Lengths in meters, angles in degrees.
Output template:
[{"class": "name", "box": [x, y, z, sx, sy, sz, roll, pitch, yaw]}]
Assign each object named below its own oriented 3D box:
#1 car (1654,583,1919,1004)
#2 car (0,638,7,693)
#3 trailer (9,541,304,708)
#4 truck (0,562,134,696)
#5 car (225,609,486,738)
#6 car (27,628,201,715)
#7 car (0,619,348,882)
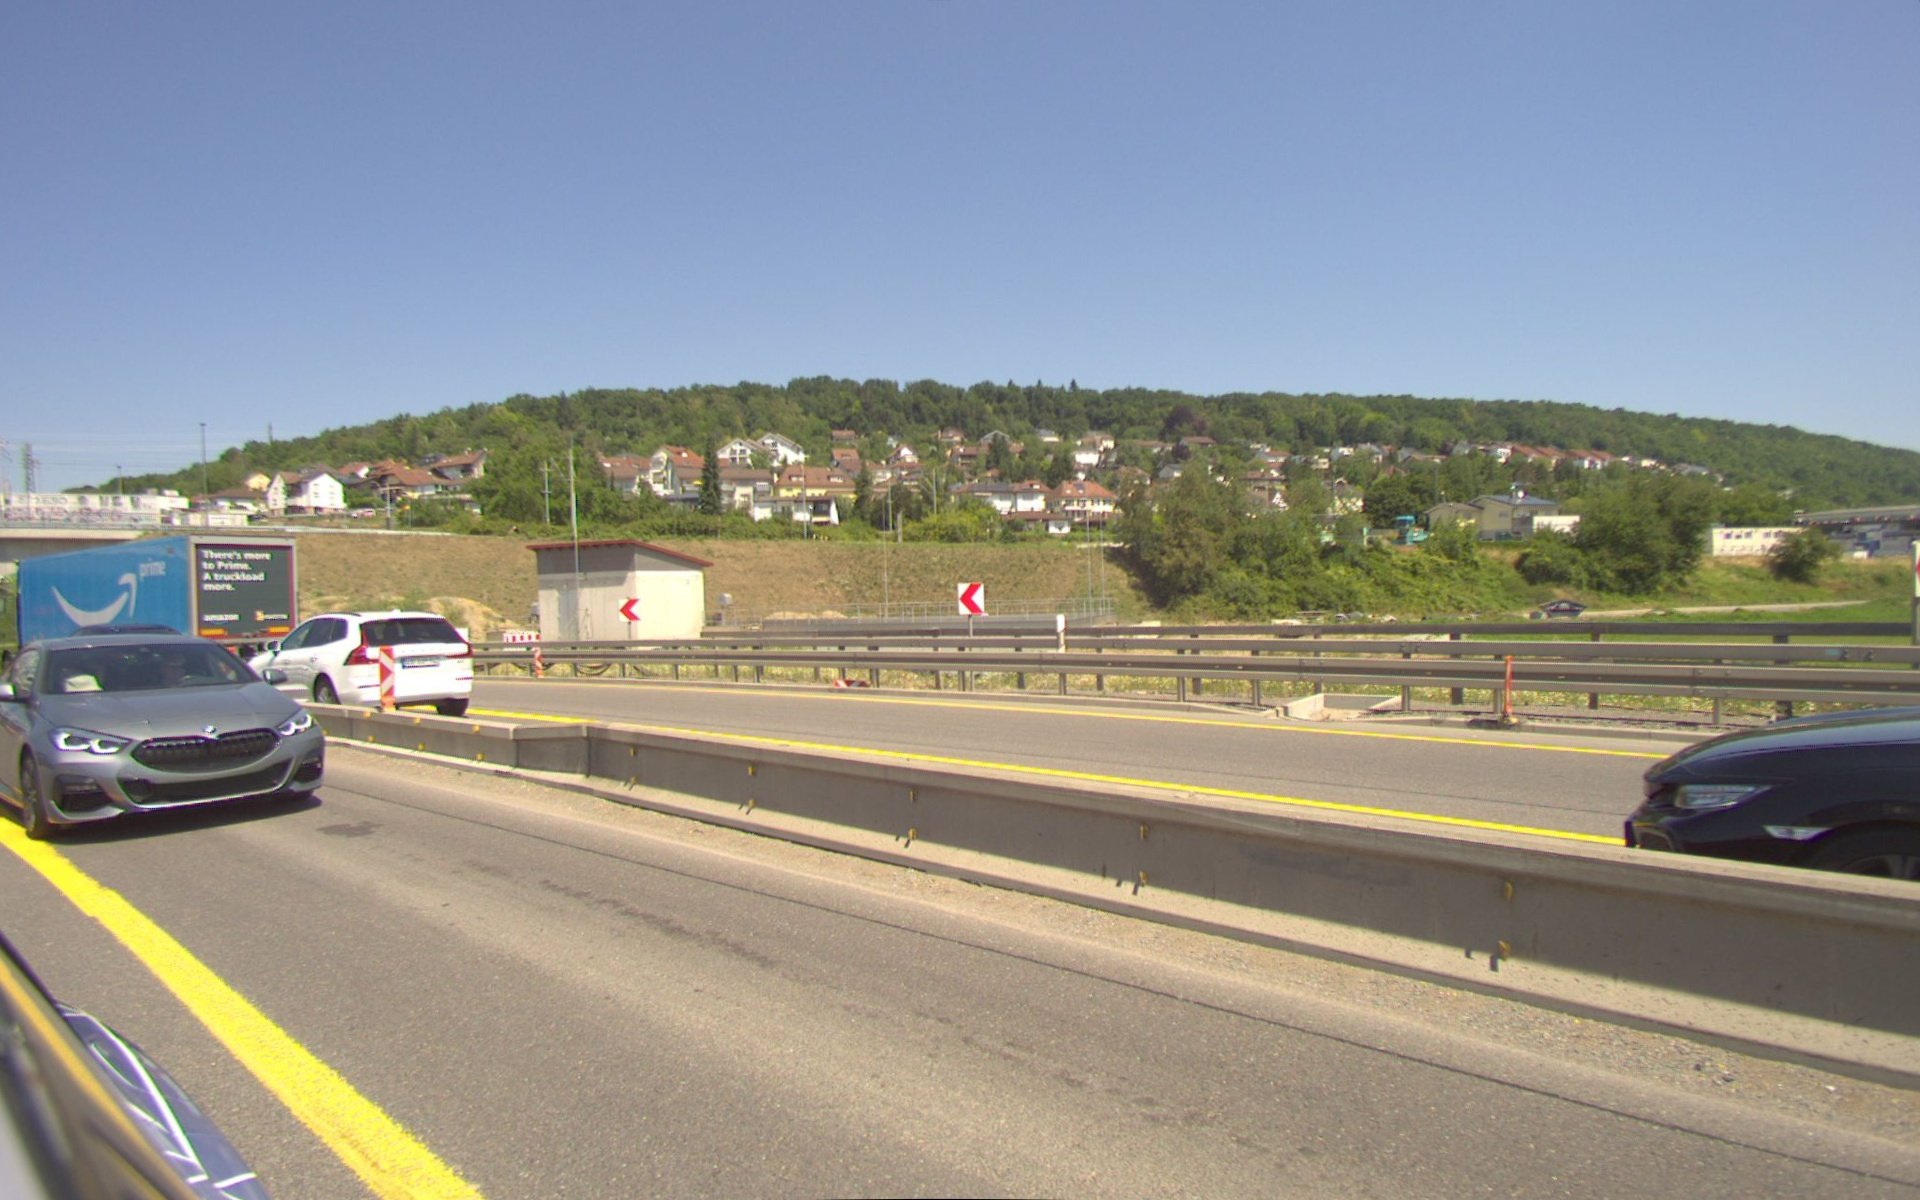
[{"class": "car", "box": [4.848, 0.587, 2.960, 4.439, 1.375, 1.651, -3, 0, 42]}, {"class": "car", "box": [-30.389, 2.030, 30.362, 4.292, 1.597, 1.804, -3, -1, 36]}, {"class": "trailer", "box": [-24.784, 0.765, 30.773, 13.264, 4.324, 2.628, -2, 1, 32]}, {"class": "truck", "box": [-31.157, 0.953, 34.924, 4.716, 4.302, 2.605, -2, 1, 32]}, {"class": "car", "box": [-9.323, 1.124, 15.458, 4.562, 1.659, 1.804, -5, -2, 37]}, {"class": "car", "box": [-18.741, 1.491, 22.351, 4.706, 1.659, 1.864, -2, 0, 36]}, {"class": "car", "box": [-6.994, 1.033, 8.536, 4.386, 1.609, 1.815, -2, -1, 40]}]
